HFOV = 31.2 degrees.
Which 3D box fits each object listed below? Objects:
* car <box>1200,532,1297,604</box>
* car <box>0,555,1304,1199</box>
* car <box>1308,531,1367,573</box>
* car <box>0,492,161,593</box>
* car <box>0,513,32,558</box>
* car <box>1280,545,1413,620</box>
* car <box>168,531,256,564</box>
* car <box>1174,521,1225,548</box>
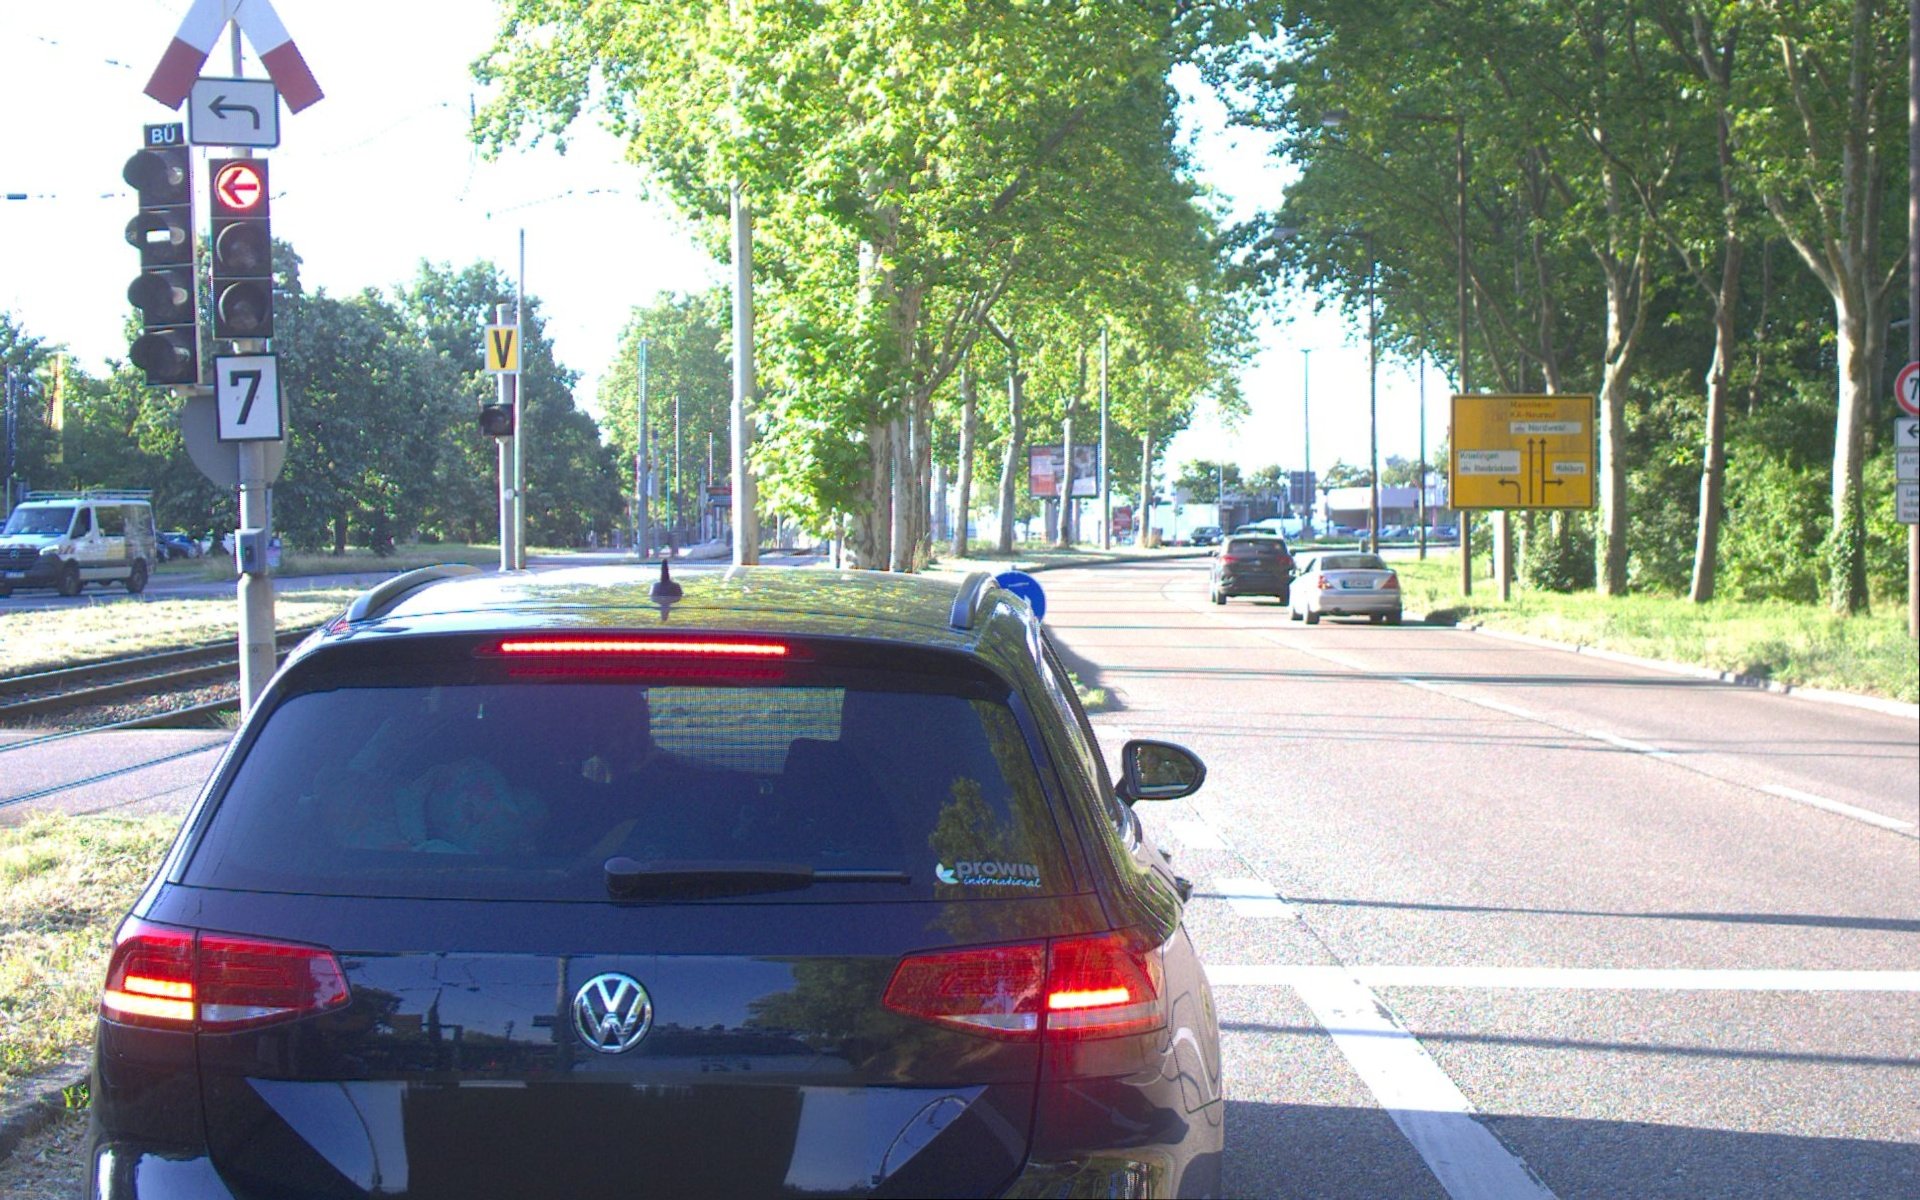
[{"bbox_3d":[6.374,-0.719,76.269,1.707,1.555,4.166,0,1,-1],"label":"car"},{"bbox_3d":[-0.478,0.666,6.409,1.795,1.459,3.583,1,1,-1],"label":"car"},{"bbox_3d":[21.505,-2.741,195.666,2.097,2.313,5.847,1,1,18],"label":"car"},{"bbox_3d":[-22.477,-1.476,86.925,2.096,2.453,5.849,1,1,12],"label":"car"},{"bbox_3d":[-35.924,-2.366,124.996,3.986,1.615,1.744,1,1,-5],"label":"car"},{"bbox_3d":[7.001,-0.333,62.626,1.608,1.290,3.984,1,1,-5],"label":"car"},{"bbox_3d":[-36.520,-2.550,167.977,3.986,1.550,1.744,1,1,-4],"label":"car"},{"bbox_3d":[13.195,-3.596,189.110,1.995,1.415,3.997,1,1,16],"label":"car"}]
